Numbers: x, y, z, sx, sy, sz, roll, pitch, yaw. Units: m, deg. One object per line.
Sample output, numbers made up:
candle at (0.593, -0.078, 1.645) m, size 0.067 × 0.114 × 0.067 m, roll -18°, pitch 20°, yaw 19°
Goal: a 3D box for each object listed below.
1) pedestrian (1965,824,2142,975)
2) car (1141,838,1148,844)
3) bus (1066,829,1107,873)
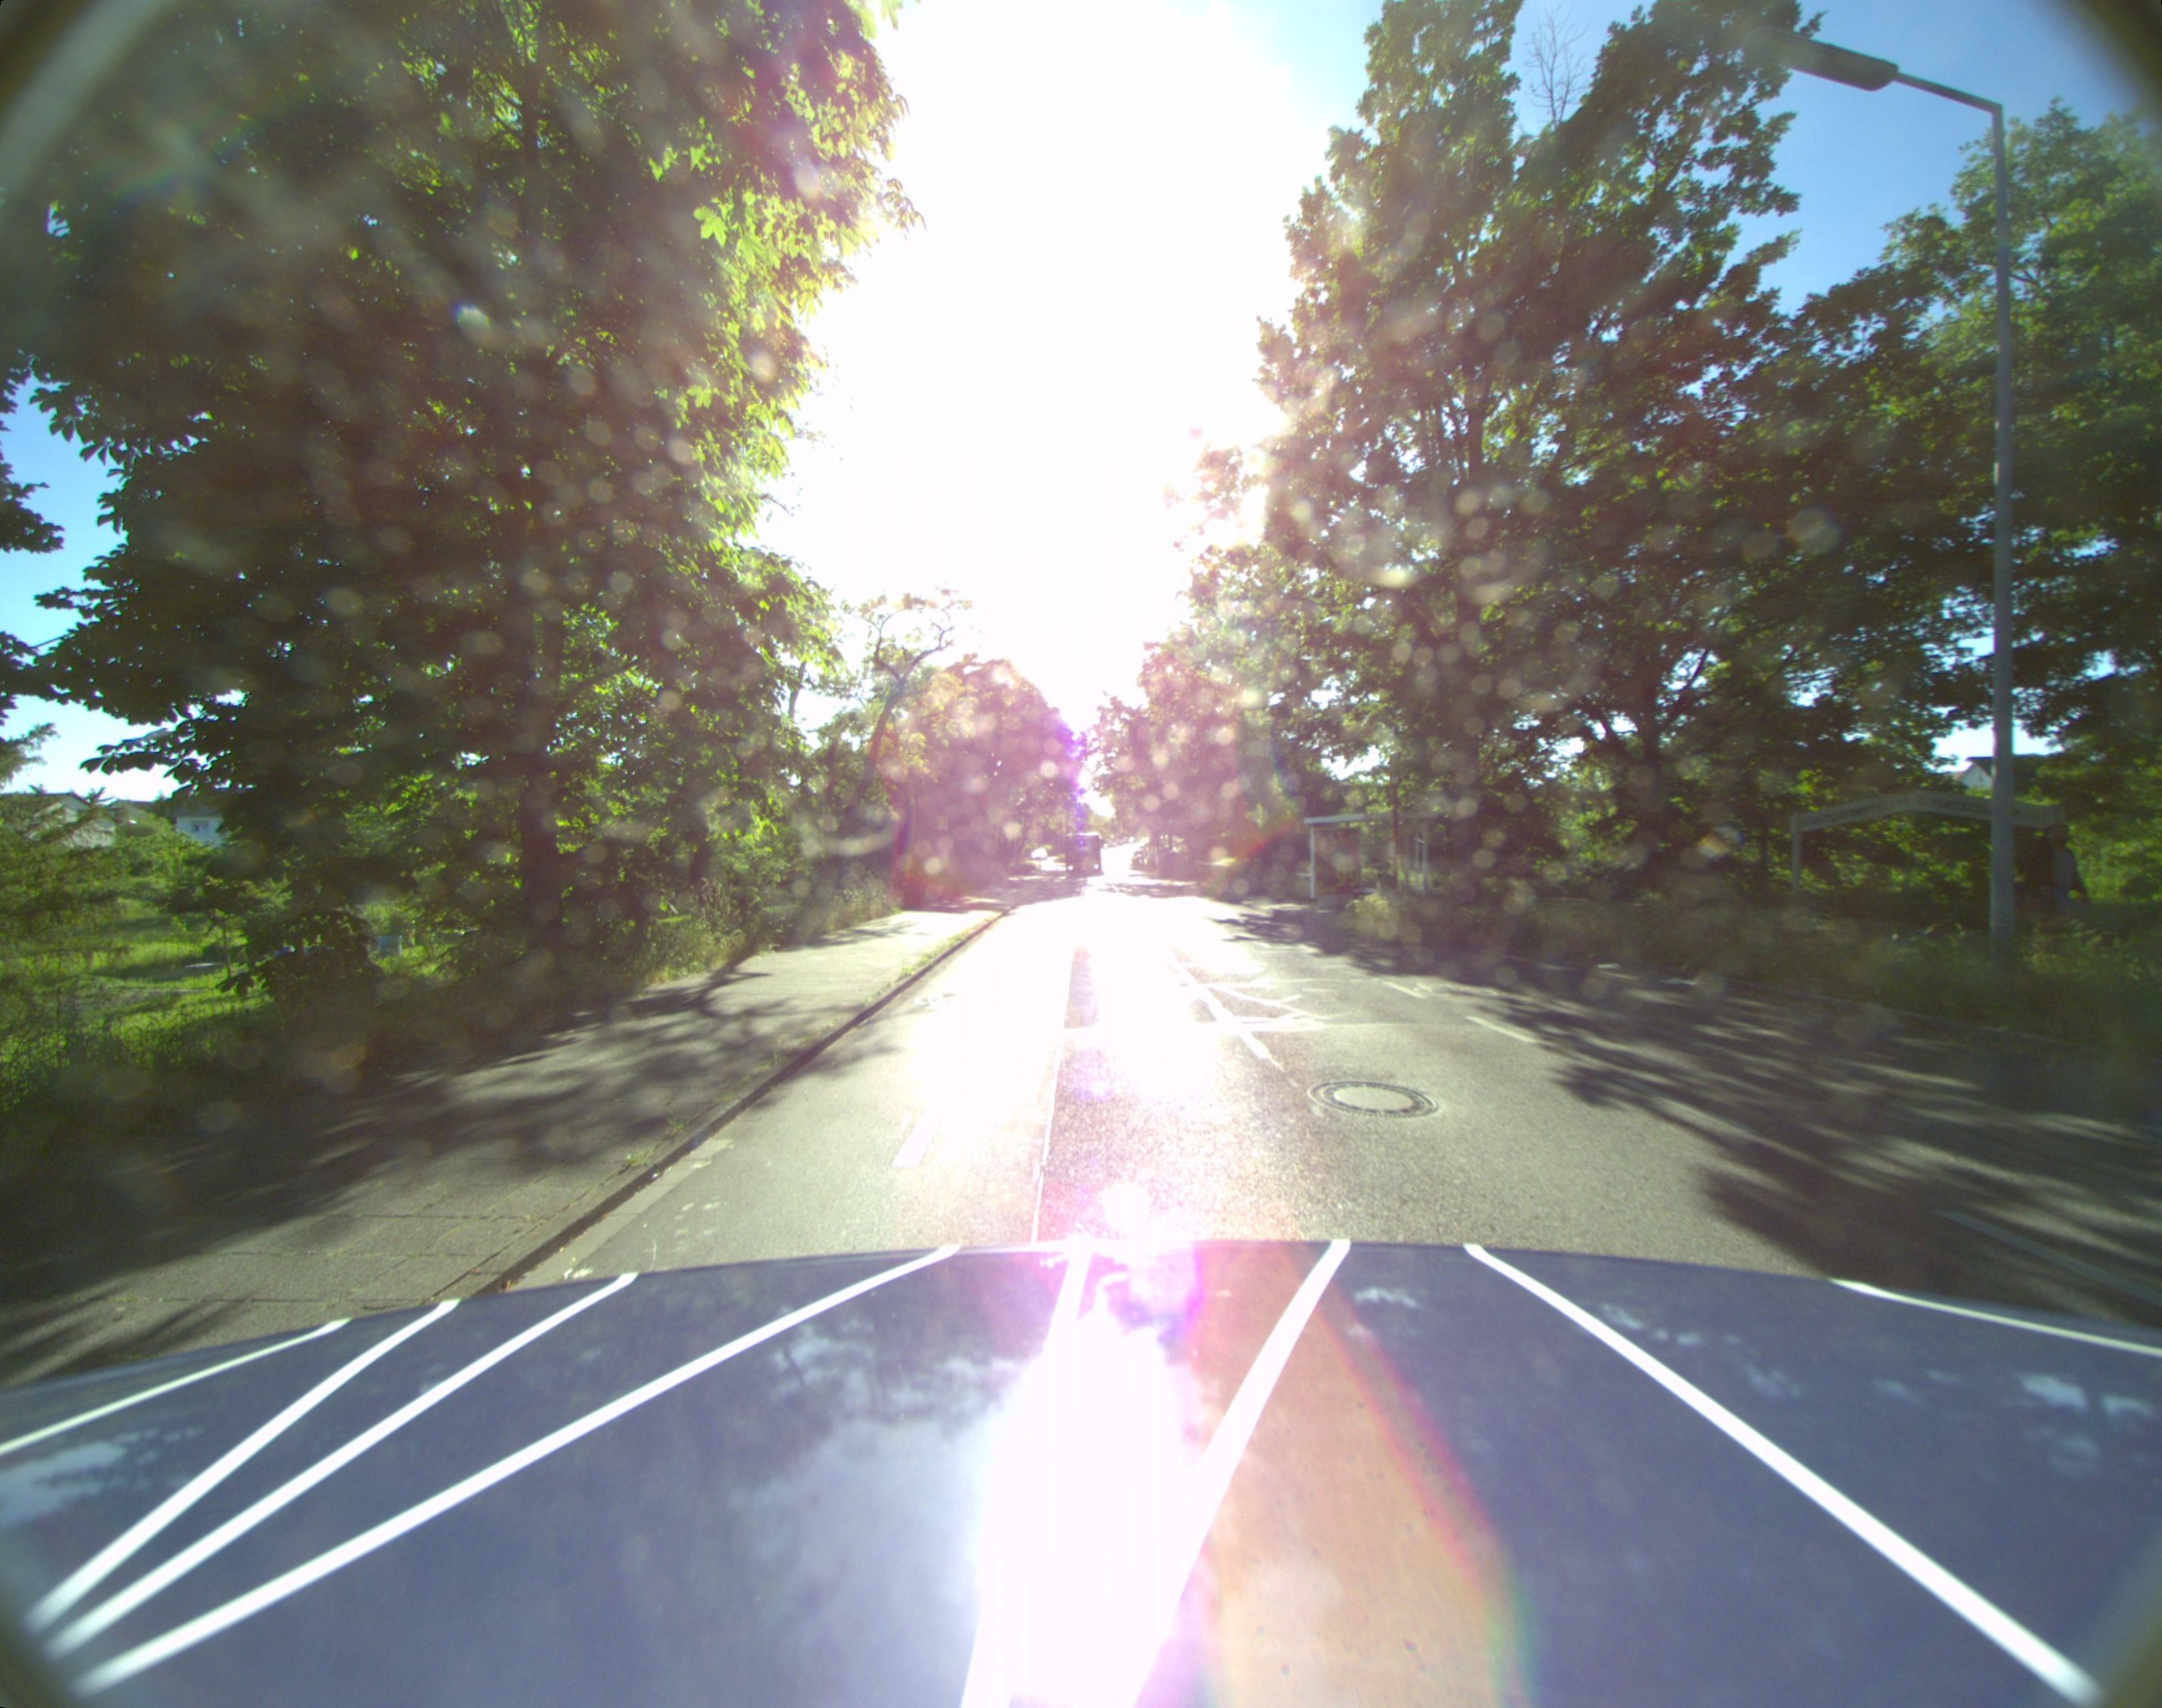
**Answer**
pedestrian at (11.477, 0.517, 9.010) m, size 0.915 × 1.678 × 0.891 m, roll -2°, pitch 0°, yaw 2°
car at (18.124, -3.787, 217.230) m, size 1.817 × 1.769 × 3.903 m, roll -2°, pitch 1°, yaw 1°
bus at (0.329, -0.197, 59.926) m, size 2.790 × 2.965 × 12.893 m, roll -2°, pitch 0°, yaw -1°
